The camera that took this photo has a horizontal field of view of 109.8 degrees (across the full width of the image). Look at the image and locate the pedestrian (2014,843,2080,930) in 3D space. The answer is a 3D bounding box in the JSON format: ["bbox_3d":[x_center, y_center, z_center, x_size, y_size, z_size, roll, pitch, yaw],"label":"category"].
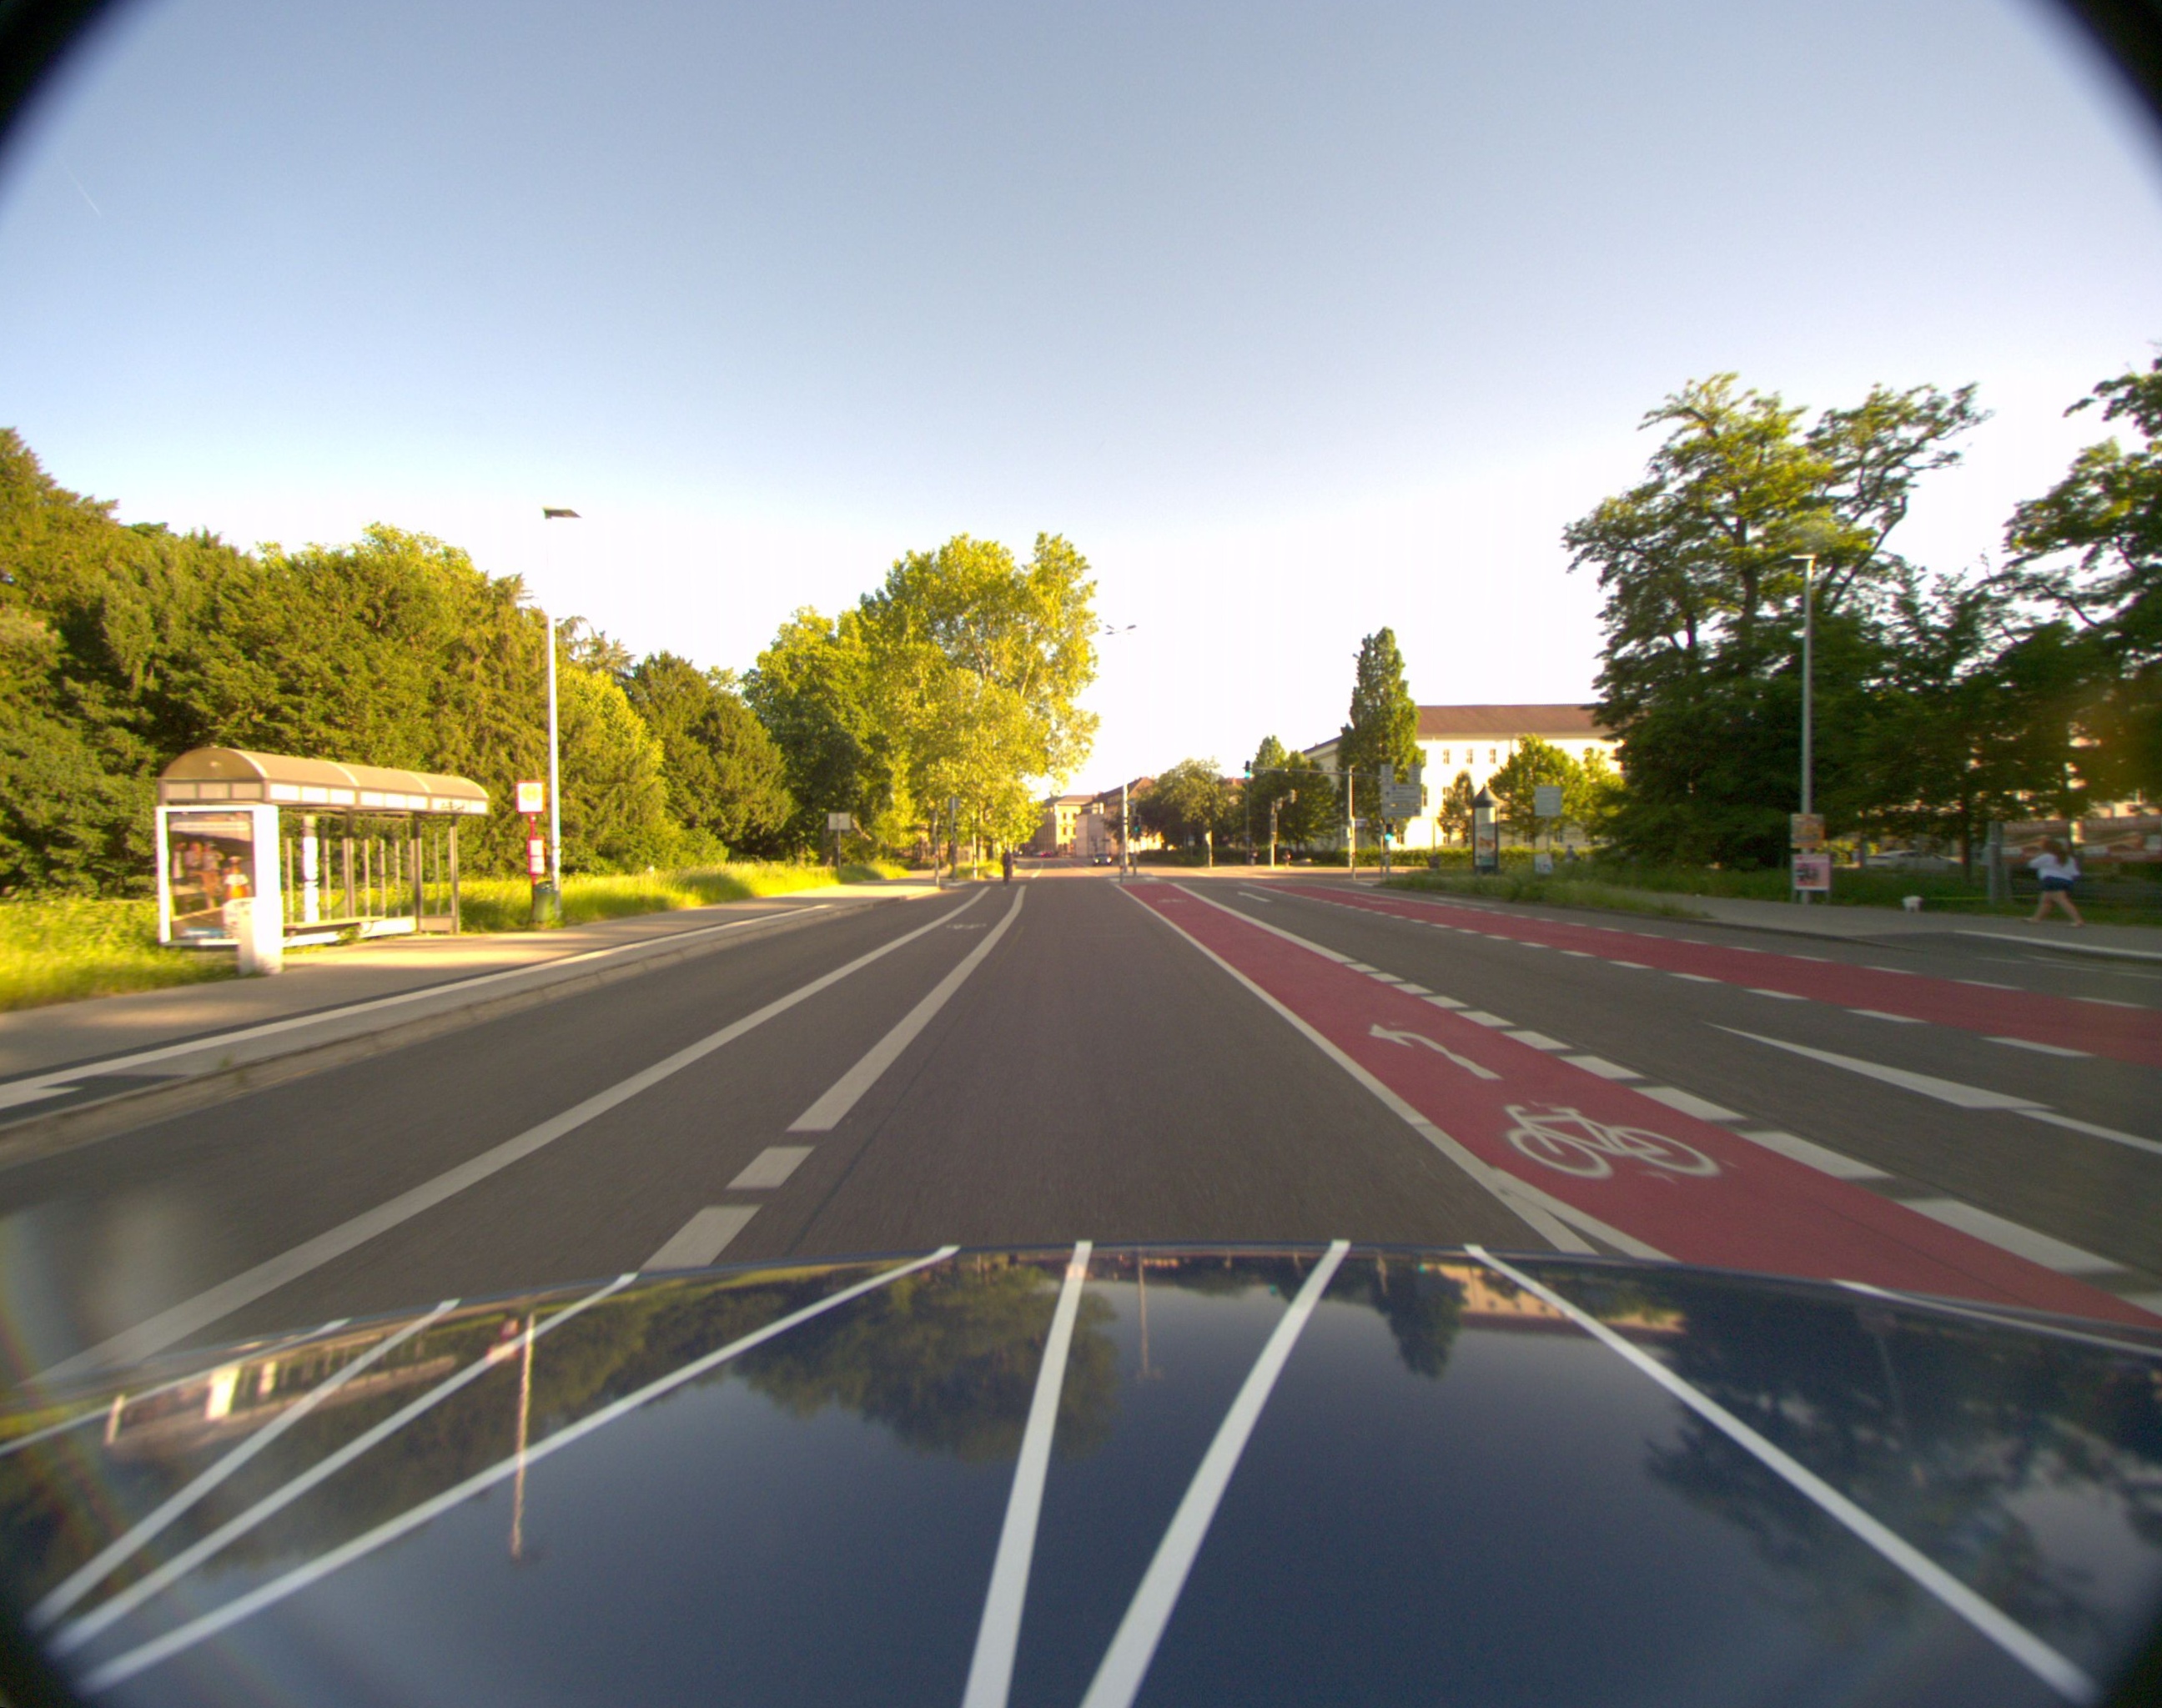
[{"bbox_3d":[17.372,0.573,13.671,0.452,1.525,0.571,-1,1,-6],"label":"pedestrian"}]

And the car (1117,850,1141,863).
[{"bbox_3d":[5.530,0.291,88.676,1.717,1.413,4.549,1,1,-11],"label":"car"}]

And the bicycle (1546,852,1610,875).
[{"bbox_3d":[25.178,0.469,38.536,2.576,1.129,0.980,0,1,3],"label":"bicycle"}]

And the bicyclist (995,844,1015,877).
[{"bbox_3d":[-3.503,0.297,35.070,0.694,1.482,0.801,0,1,9],"label":"bicyclist"}]

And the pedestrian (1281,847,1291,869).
[{"bbox_3d":[17.024,0.293,63.089,0.744,1.805,0.727,0,1,7],"label":"pedestrian"}]

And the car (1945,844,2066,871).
[{"bbox_3d":[55.622,0.203,45.810,4.253,1.530,2.238,0,1,6],"label":"car"}]

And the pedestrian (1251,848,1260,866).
[{"bbox_3d":[15.873,0.251,69.146,0.691,1.672,0.680,0,1,7],"label":"pedestrian"}]

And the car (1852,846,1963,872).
[{"bbox_3d":[50.037,0.276,46.098,4.253,1.530,2.070,0,1,6],"label":"car"}]

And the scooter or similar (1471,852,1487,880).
[{"bbox_3d":[19.052,0.573,36.357,0.694,1.286,1.499,0,1,28],"label":"scooter or similar"}]

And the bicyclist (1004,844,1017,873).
[{"bbox_3d":[-3.709,0.219,40.107,0.695,1.493,0.892,0,1,-5],"label":"bicyclist"}]

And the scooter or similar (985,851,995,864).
[{"bbox_3d":[-9.135,0.330,76.251,0.794,1.248,1.836,3,1,-2],"label":"scooter or similar"}]

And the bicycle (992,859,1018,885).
[{"bbox_3d":[-3.491,0.815,35.109,0.694,1.089,2.137,0,1,9],"label":"bicycle"}]

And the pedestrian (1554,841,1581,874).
[{"bbox_3d":[24.981,0.188,38.995,0.979,1.686,0.643,0,1,3],"label":"pedestrian"}]

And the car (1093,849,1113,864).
[{"bbox_3d":[2.244,0.224,77.581,1.722,1.409,4.525,0,0,-2],"label":"car"}]

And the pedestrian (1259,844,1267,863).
[{"bbox_3d":[17.306,-0.066,72.246,0.691,1.805,0.680,0,1,7],"label":"pedestrian"}]
